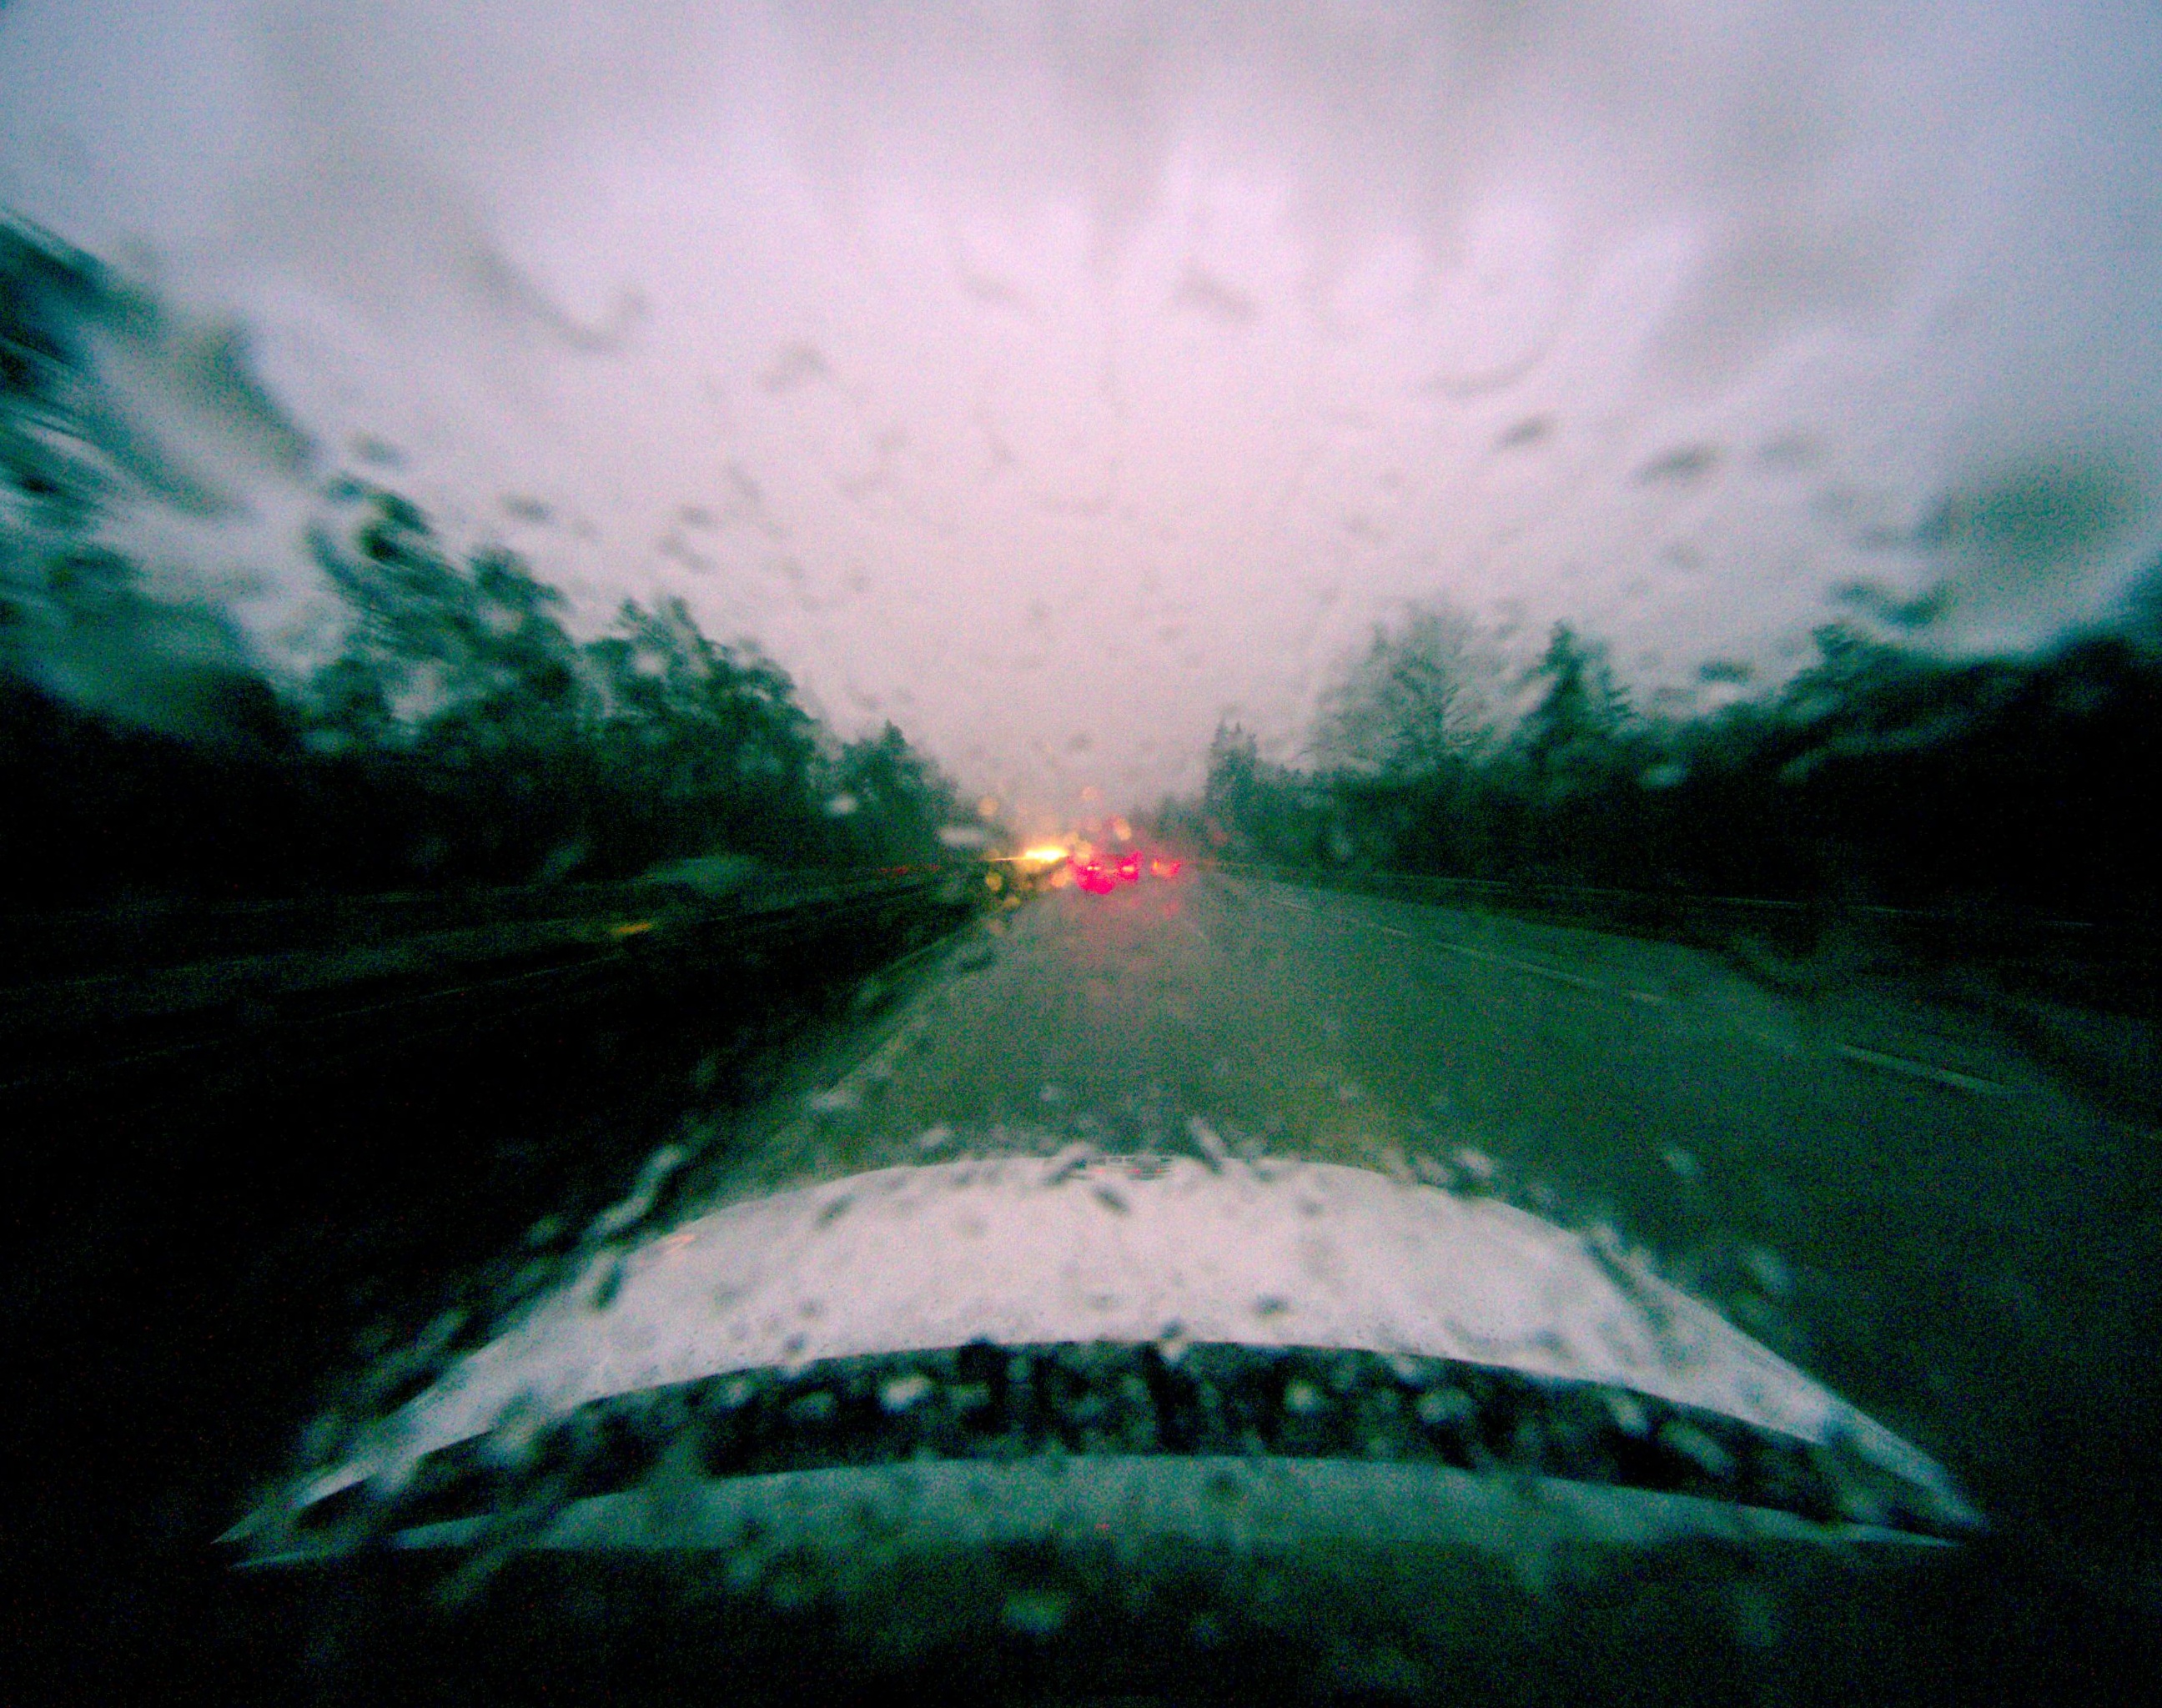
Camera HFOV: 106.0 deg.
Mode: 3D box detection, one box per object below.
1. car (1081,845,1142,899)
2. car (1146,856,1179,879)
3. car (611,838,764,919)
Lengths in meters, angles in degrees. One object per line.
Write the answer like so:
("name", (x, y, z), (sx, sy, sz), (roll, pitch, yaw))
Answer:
("car", (1.069, 0.603, 28.985), (1.979, 1.767, 4.174), (-1, 0, 1))
("car", (5.236, 0.876, 52.966), (1.774, 1.437, 3.536), (0, 0, 0))
("car", (-10.903, 0.622, 23.037), (1.987, 2.013, 4.783), (-1, 0, 0))
